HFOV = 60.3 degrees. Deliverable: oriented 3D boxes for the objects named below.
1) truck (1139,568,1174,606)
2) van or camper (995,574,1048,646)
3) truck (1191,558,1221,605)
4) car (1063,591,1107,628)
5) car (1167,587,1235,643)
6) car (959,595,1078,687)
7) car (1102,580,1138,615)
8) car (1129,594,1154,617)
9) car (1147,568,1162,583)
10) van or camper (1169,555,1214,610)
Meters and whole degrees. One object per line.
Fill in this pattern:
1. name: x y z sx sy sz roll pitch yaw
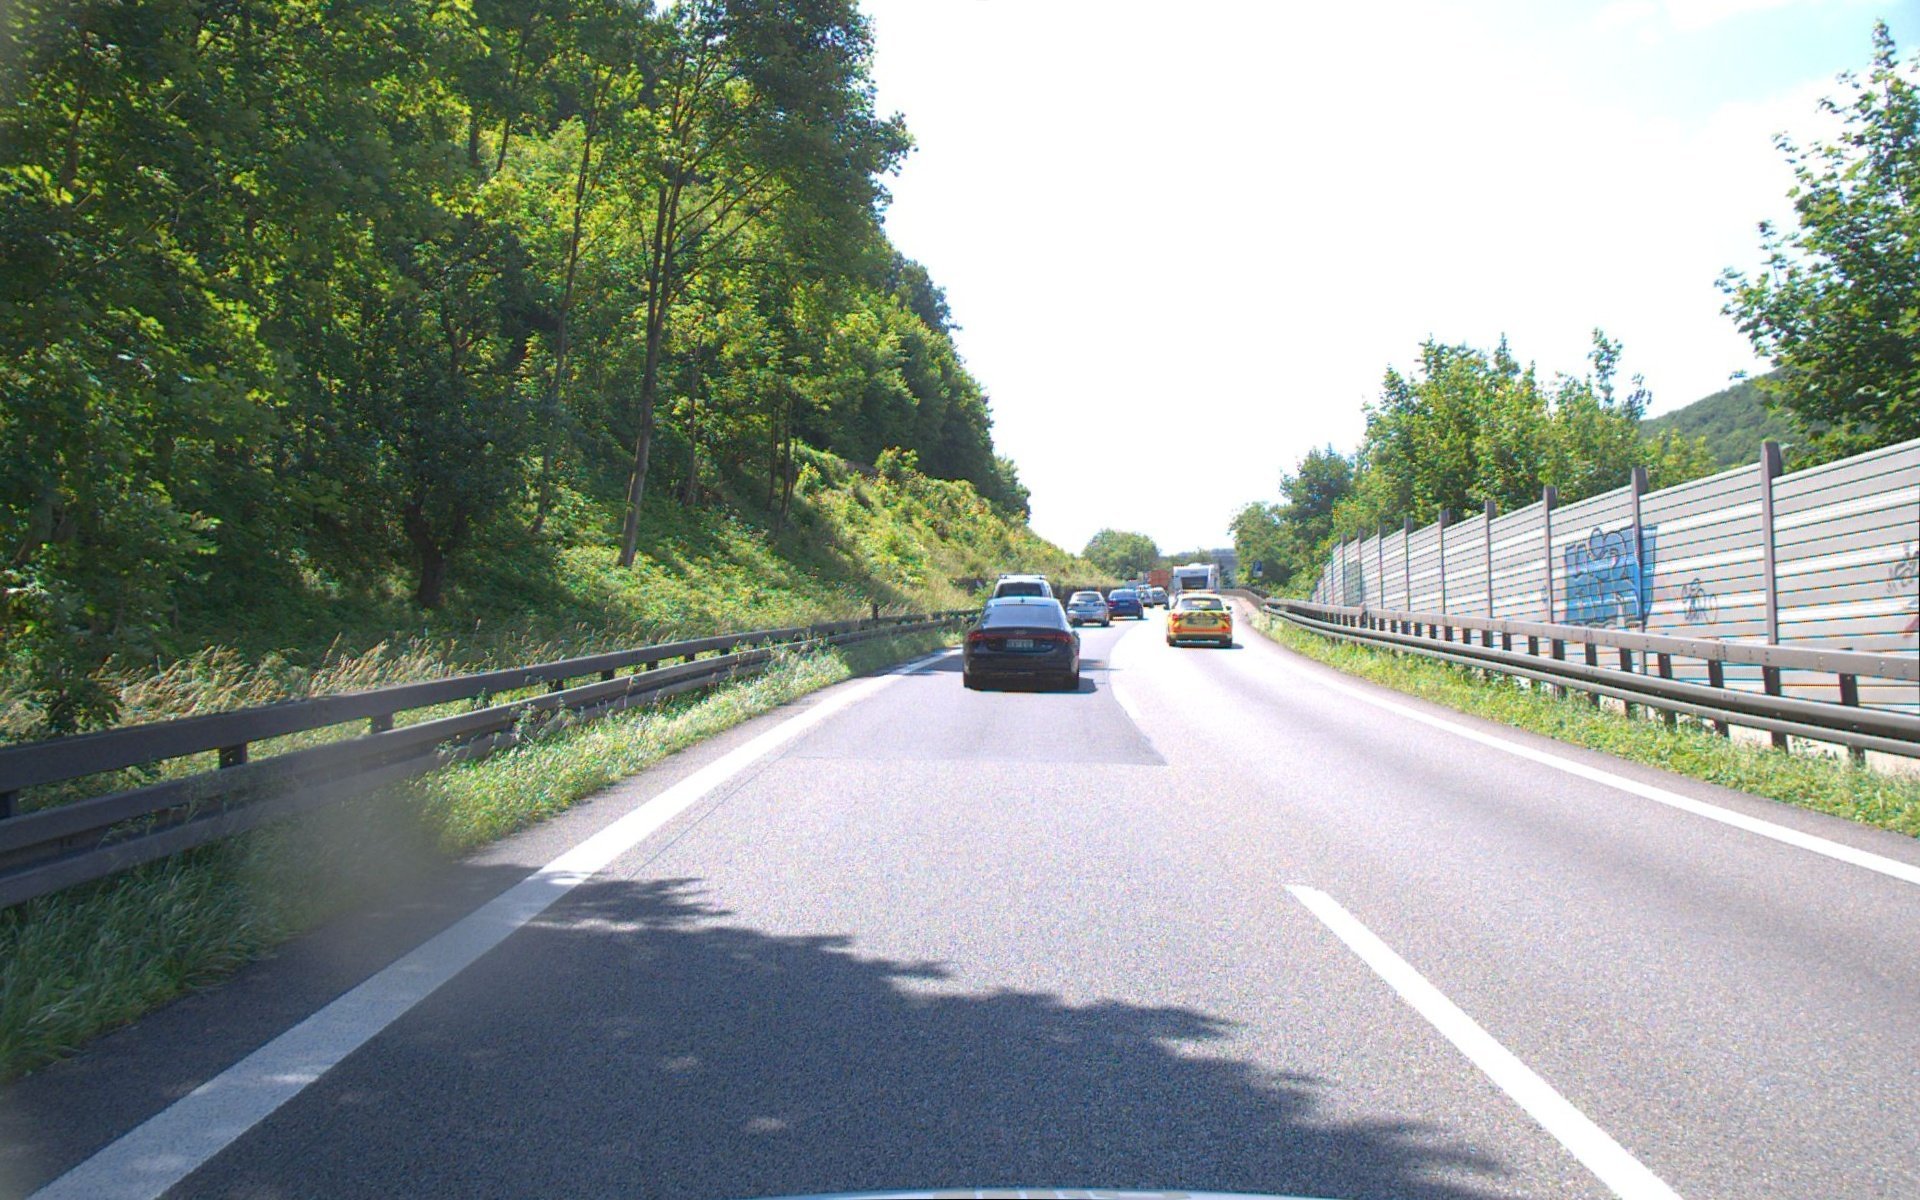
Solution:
1. truck: 16.923 -1.110 142.135 2.780 3.186 7.486 0 0 8
2. van or camper: 1.683 0.279 44.664 1.362 1.848 4.001 0 -1 3
3. truck: 22.554 -1.691 151.711 2.674 4.168 7.486 0 0 8
4. car: 5.224 0.401 68.781 1.710 1.456 4.002 0 -1 6
5. car: 6.816 0.431 47.055 1.823 1.514 4.003 0 -1 7
6. car: 0.952 0.646 27.199 1.799 1.373 4.000 0 -1 2
7. car: 7.977 -0.103 82.597 1.736 1.665 4.002 1 -1 4
8. car: 14.192 0.407 129.372 1.802 1.747 4.003 0 -1 8
9. car: 27.933 -3.525 237.851 1.951 2.049 4.002 0 0 4
10. van or camper: 13.077 -0.933 93.649 2.403 2.969 6.130 0 -1 7
